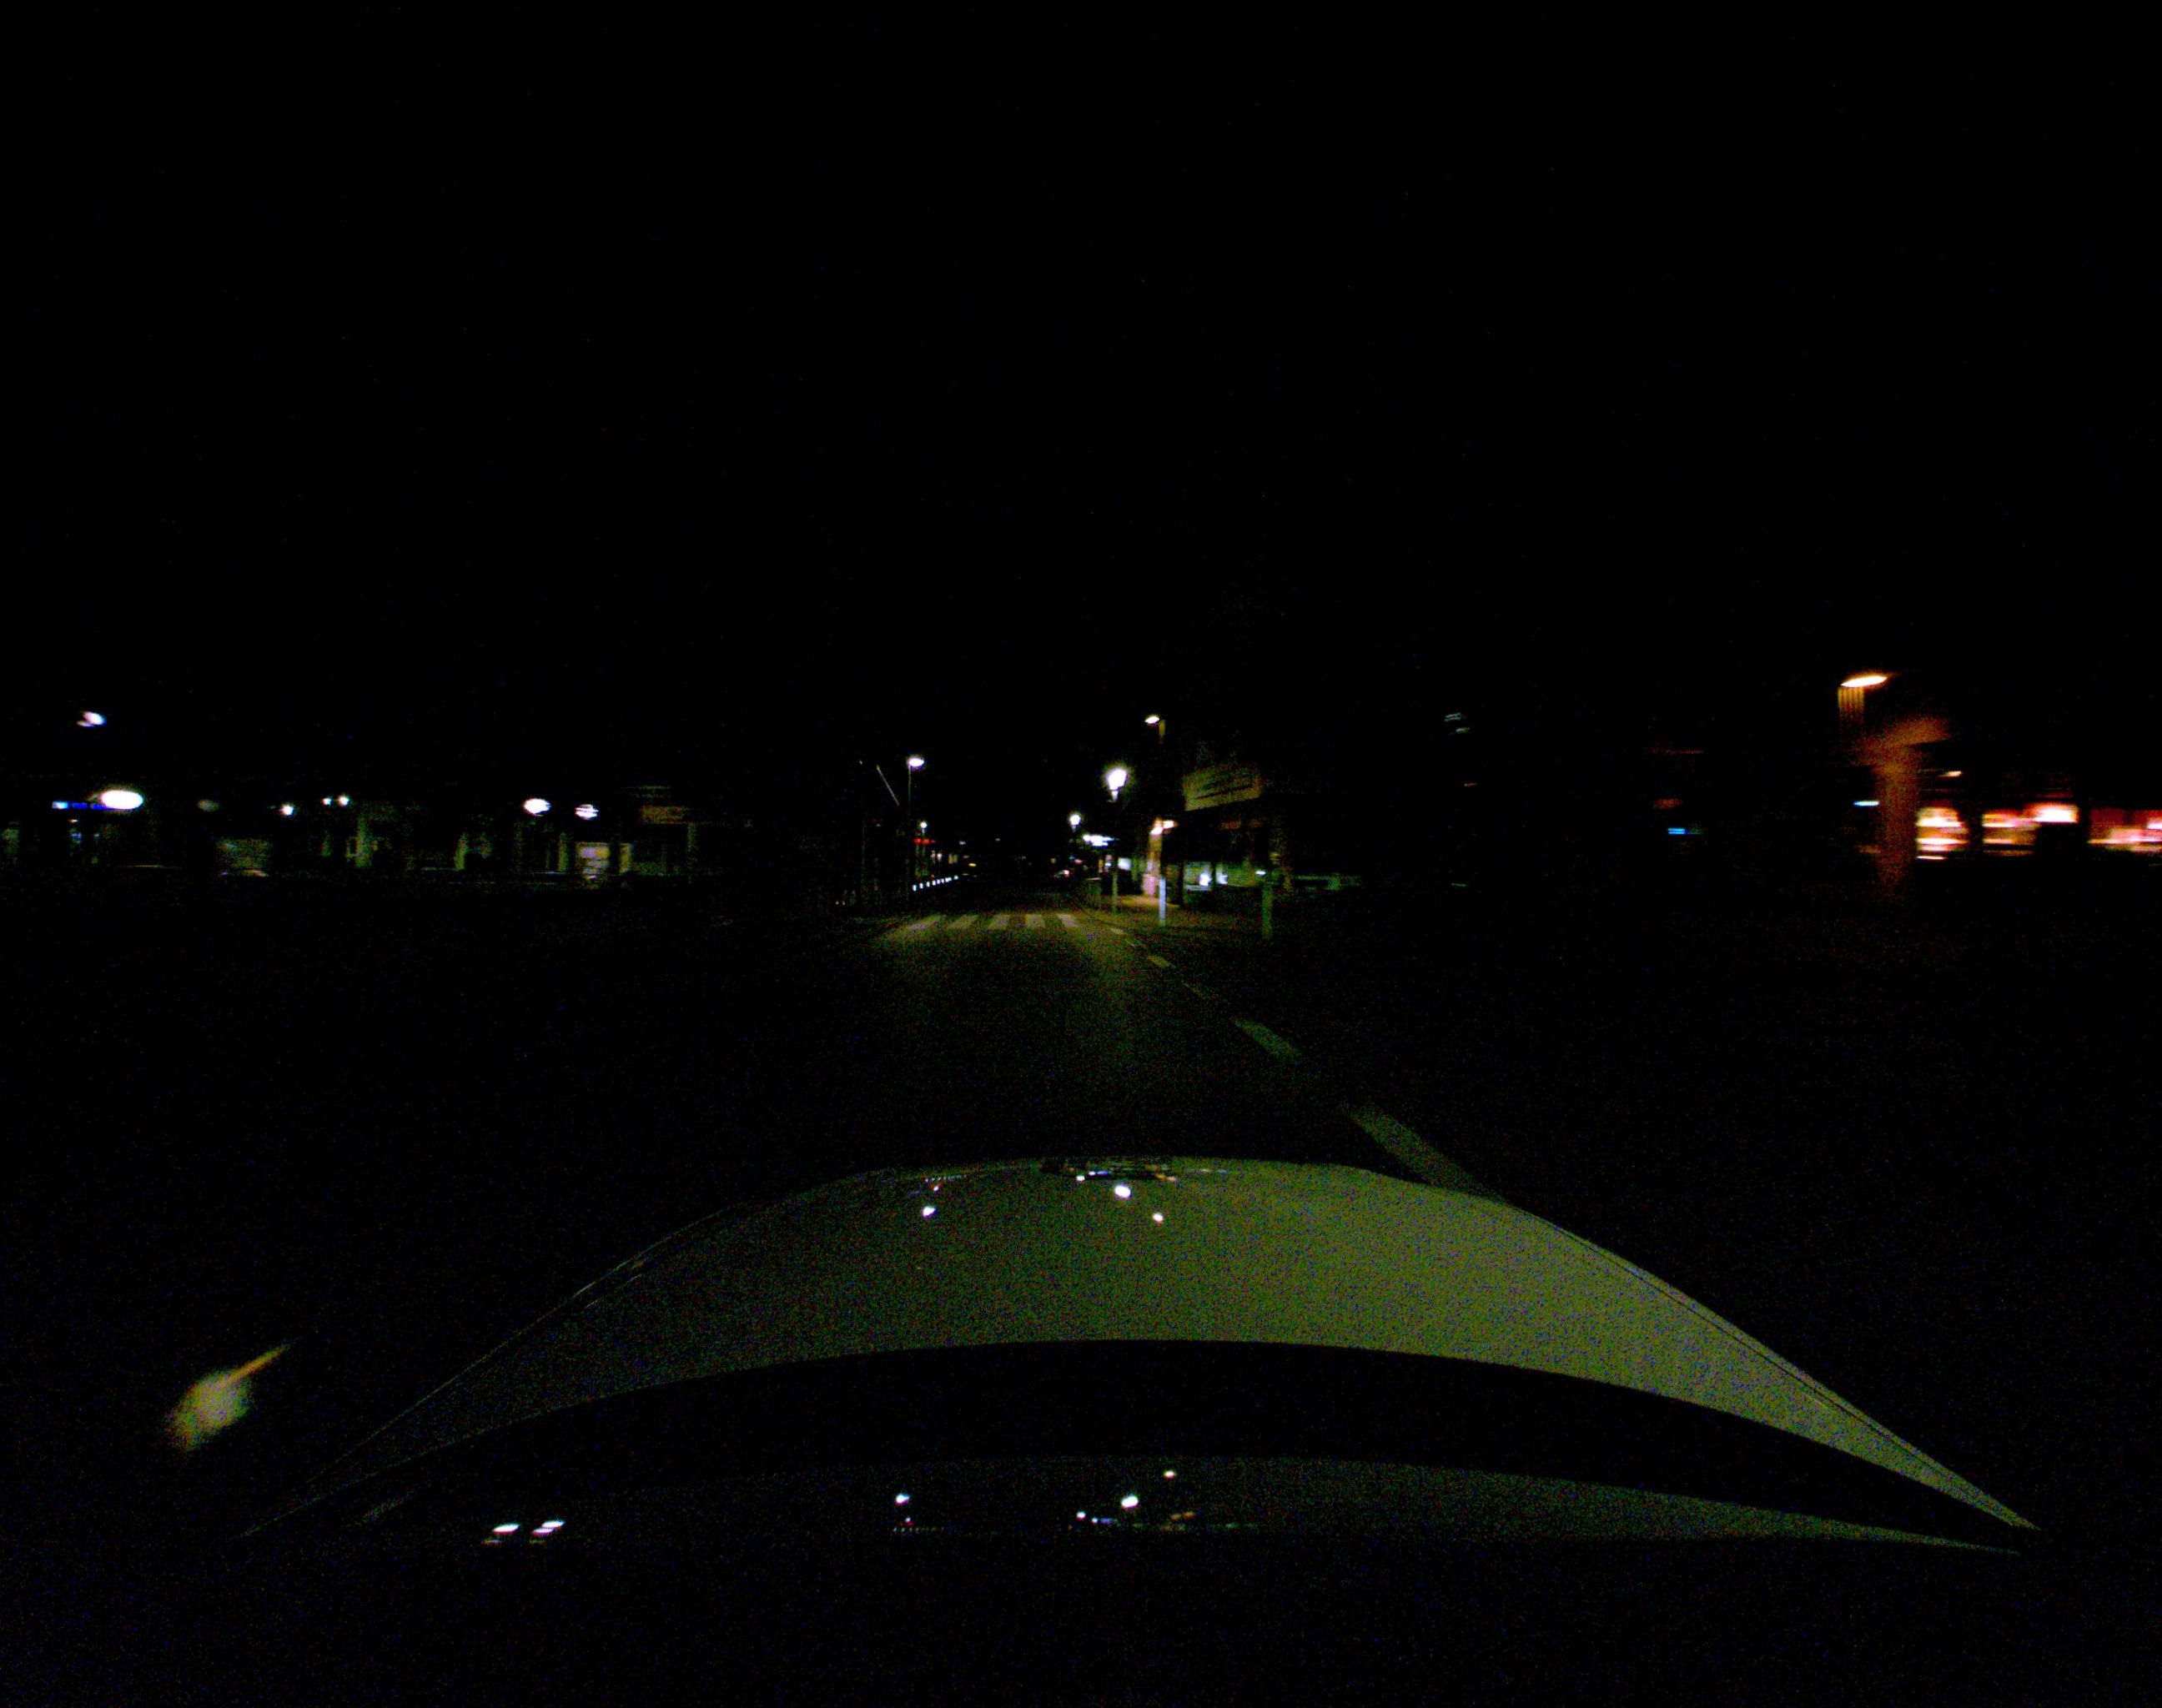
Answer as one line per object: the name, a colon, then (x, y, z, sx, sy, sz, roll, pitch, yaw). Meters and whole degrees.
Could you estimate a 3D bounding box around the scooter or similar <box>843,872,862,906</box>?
scooter or similar: (-7.948, 1.206, 28.390, 0.429, 1.134, 1.002, -1, 0, -5)

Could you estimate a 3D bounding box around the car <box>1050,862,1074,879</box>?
car: (-1.713, 1.423, 72.901, 1.831, 1.358, 3.993, -1, 1, -5)

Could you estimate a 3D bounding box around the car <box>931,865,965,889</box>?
car: (-8.507, 1.451, 52.458, 1.830, 1.453, 3.993, -1, -1, -5)

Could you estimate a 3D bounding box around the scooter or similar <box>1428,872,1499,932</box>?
scooter or similar: (8.356, 1.032, 17.803, 1.241, 1.227, 0.599, 1, 1, 2)

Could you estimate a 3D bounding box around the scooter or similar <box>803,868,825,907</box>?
scooter or similar: (-9.254, 1.154, 28.268, 0.429, 1.284, 1.145, -1, 0, -5)

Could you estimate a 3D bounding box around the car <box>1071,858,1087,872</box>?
car: (-0.237, 1.378, 102.252, 1.707, 1.547, 3.533, -1, 1, -5)

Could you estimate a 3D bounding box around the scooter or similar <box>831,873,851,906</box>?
scooter or similar: (-8.372, 1.231, 28.412, 0.429, 1.106, 1.002, -1, 0, -5)

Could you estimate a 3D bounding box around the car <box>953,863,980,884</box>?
car: (-8.938, 1.486, 63.203, 1.834, 1.453, 3.985, -1, 1, -11)
